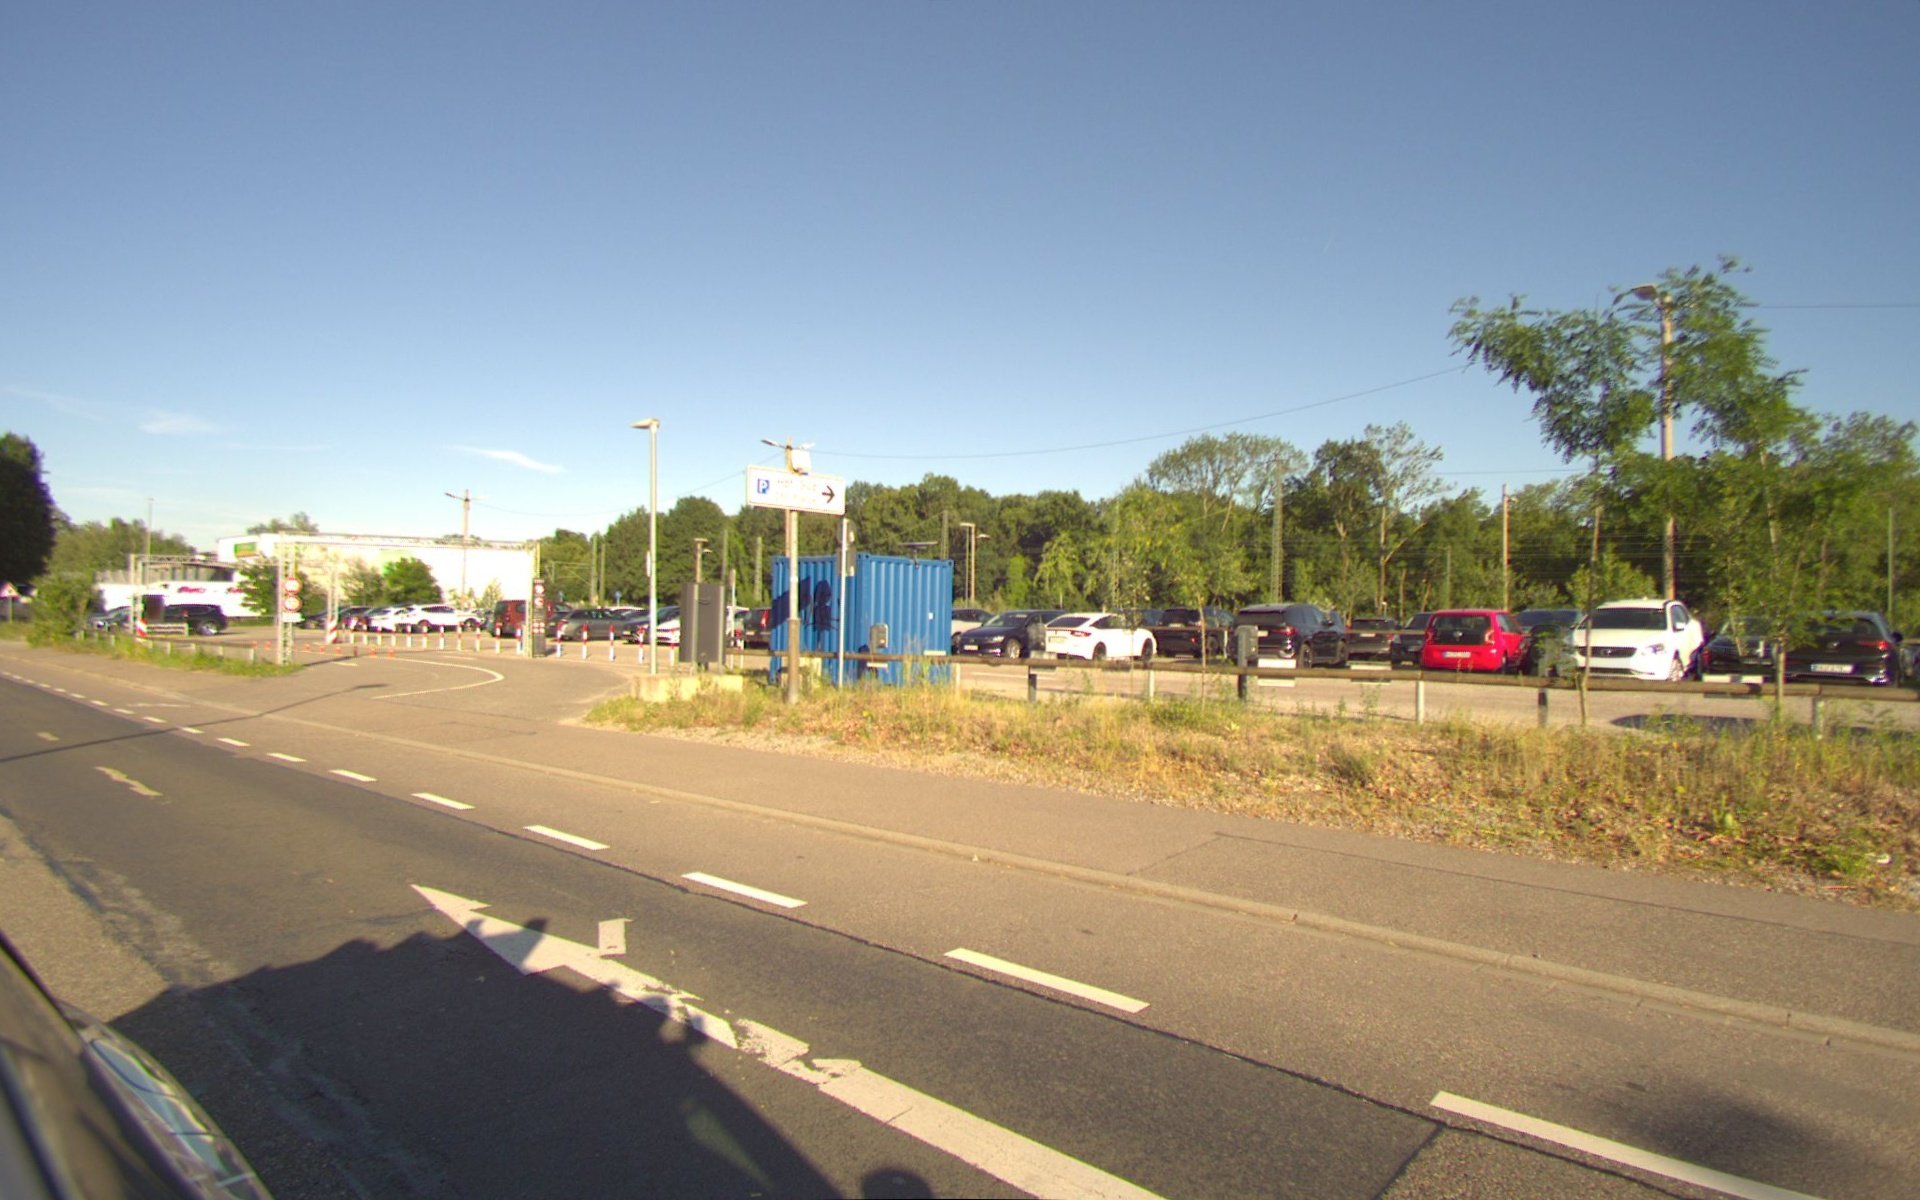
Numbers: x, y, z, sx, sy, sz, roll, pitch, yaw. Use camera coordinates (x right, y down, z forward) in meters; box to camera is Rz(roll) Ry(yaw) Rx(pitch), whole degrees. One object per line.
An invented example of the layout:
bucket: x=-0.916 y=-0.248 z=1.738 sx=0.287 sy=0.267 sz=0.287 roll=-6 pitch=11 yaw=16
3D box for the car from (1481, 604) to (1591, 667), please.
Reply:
car: x=14.737 y=0.852 z=25.792 sx=1.945 sy=1.473 sz=4.150 roll=-1 pitch=-1 yaw=37

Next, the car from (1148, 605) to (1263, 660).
car: x=7.814 y=0.964 z=31.952 sx=1.867 sy=1.563 sz=4.389 roll=-1 pitch=0 yaw=39

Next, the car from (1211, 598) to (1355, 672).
car: x=7.930 y=0.775 z=24.640 sx=1.985 sy=1.601 sz=4.148 roll=-1 pitch=0 yaw=39

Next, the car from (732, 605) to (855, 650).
car: x=-6.094 y=0.970 z=37.426 sx=1.867 sy=1.525 sz=4.389 roll=-1 pitch=0 yaw=39

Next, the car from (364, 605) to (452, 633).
car: x=-31.676 y=1.093 z=58.147 sx=1.758 sy=1.497 sz=4.108 roll=-1 pitch=0 yaw=36

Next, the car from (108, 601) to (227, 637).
car: x=-41.340 y=0.978 z=52.879 sx=1.800 sy=1.754 sz=4.596 roll=-1 pitch=0 yaw=39

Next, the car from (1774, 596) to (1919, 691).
car: x=15.993 y=0.706 z=18.271 sx=1.890 sy=1.499 sz=3.890 roll=-1 pitch=0 yaw=41

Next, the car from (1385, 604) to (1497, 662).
car: x=13.063 y=0.854 z=27.361 sx=1.983 sy=1.443 sz=4.150 roll=-1 pitch=-1 yaw=37

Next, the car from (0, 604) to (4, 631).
car: x=-98.316 y=1.757 z=99.828 sx=1.999 sy=2.722 sz=5.695 roll=-1 pitch=-1 yaw=41

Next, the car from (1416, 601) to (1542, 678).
car: x=11.499 y=0.798 z=22.307 sx=1.724 sy=1.516 sz=3.948 roll=0 pitch=0 yaw=39

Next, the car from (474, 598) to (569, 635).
car: x=-22.294 y=0.823 z=51.508 sx=4.014 sy=1.790 sz=1.871 roll=-1 pitch=0 yaw=-43

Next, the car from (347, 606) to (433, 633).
car: x=-33.606 y=1.116 z=59.753 sx=1.762 sy=1.498 sz=4.107 roll=-1 pitch=0 yaw=36

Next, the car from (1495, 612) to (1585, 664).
car: x=20.257 y=1.267 z=35.267 sx=1.986 sy=1.601 sz=4.146 roll=-1 pitch=0 yaw=41

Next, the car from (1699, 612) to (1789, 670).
car: x=24.316 y=1.216 z=31.343 sx=1.986 sy=1.601 sz=4.156 roll=-1 pitch=0 yaw=41

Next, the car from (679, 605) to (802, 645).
car: x=-8.348 y=0.917 z=38.868 sx=1.945 sy=1.388 sz=4.389 roll=-1 pitch=0 yaw=39

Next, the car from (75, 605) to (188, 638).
car: x=-47.420 y=1.208 z=57.974 sx=1.999 sy=1.814 sz=4.749 roll=-1 pitch=-1 yaw=41

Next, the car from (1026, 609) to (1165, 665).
car: x=3.875 y=0.983 z=28.326 sx=1.867 sy=1.388 sz=4.389 roll=-1 pitch=0 yaw=39

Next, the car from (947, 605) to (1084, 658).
car: x=1.716 y=0.904 z=30.065 sx=1.867 sy=1.454 sz=4.389 roll=-1 pitch=-1 yaw=39

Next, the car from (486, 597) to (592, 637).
car: x=-20.317 y=0.797 z=48.943 sx=4.379 sy=1.790 sz=1.871 roll=-1 pitch=0 yaw=-43

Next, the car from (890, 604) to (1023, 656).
car: x=-0.030 y=0.912 z=32.029 sx=1.867 sy=1.477 sz=4.389 roll=-1 pitch=0 yaw=39

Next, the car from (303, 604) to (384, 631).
car: x=-39.960 y=1.129 z=65.694 sx=1.773 sy=1.637 sz=4.292 roll=-1 pitch=0 yaw=21

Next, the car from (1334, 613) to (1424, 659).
car: x=16.067 y=1.324 z=38.681 sx=1.986 sy=1.601 sz=4.146 roll=-1 pitch=0 yaw=41

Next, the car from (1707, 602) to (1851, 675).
car: x=18.454 y=0.801 z=22.749 sx=4.055 sy=1.482 sz=2.093 roll=1 pitch=-1 yaw=-45

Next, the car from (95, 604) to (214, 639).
car: x=-43.444 y=1.156 z=54.650 sx=1.999 sy=1.814 sz=4.749 roll=-1 pitch=-1 yaw=41

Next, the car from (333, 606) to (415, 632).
car: x=-35.654 y=1.143 z=61.615 sx=1.762 sy=1.498 sz=3.964 roll=-1 pitch=0 yaw=36

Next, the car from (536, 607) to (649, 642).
car: x=-16.485 y=1.059 z=45.547 sx=4.380 sy=1.455 sz=1.923 roll=-1 pitch=0 yaw=-44

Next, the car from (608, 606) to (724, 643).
car: x=-12.144 y=0.969 z=42.027 sx=1.867 sy=1.388 sz=4.389 roll=-1 pitch=0 yaw=39

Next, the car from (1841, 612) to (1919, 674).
car: x=26.974 y=1.181 z=29.395 sx=1.987 sy=1.601 sz=4.144 roll=-1 pitch=0 yaw=42

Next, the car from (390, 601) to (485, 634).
car: x=-29.408 y=0.956 z=57.064 sx=1.867 sy=1.792 sz=4.390 roll=-1 pitch=-1 yaw=38

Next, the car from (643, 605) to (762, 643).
car: x=-10.278 y=0.945 z=40.598 sx=1.867 sy=1.388 sz=4.389 roll=-1 pitch=0 yaw=39

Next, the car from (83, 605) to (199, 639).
car: x=-45.517 y=1.183 z=56.336 sx=1.999 sy=1.814 sz=4.749 roll=-1 pitch=-1 yaw=41

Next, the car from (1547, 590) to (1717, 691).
car: x=13.206 y=0.689 z=19.762 sx=2.040 sy=1.707 sz=4.635 roll=-1 pitch=0 yaw=43

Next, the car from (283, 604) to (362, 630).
car: x=-42.179 y=1.081 z=67.037 sx=1.731 sy=1.621 sz=4.276 roll=-1 pitch=0 yaw=20
